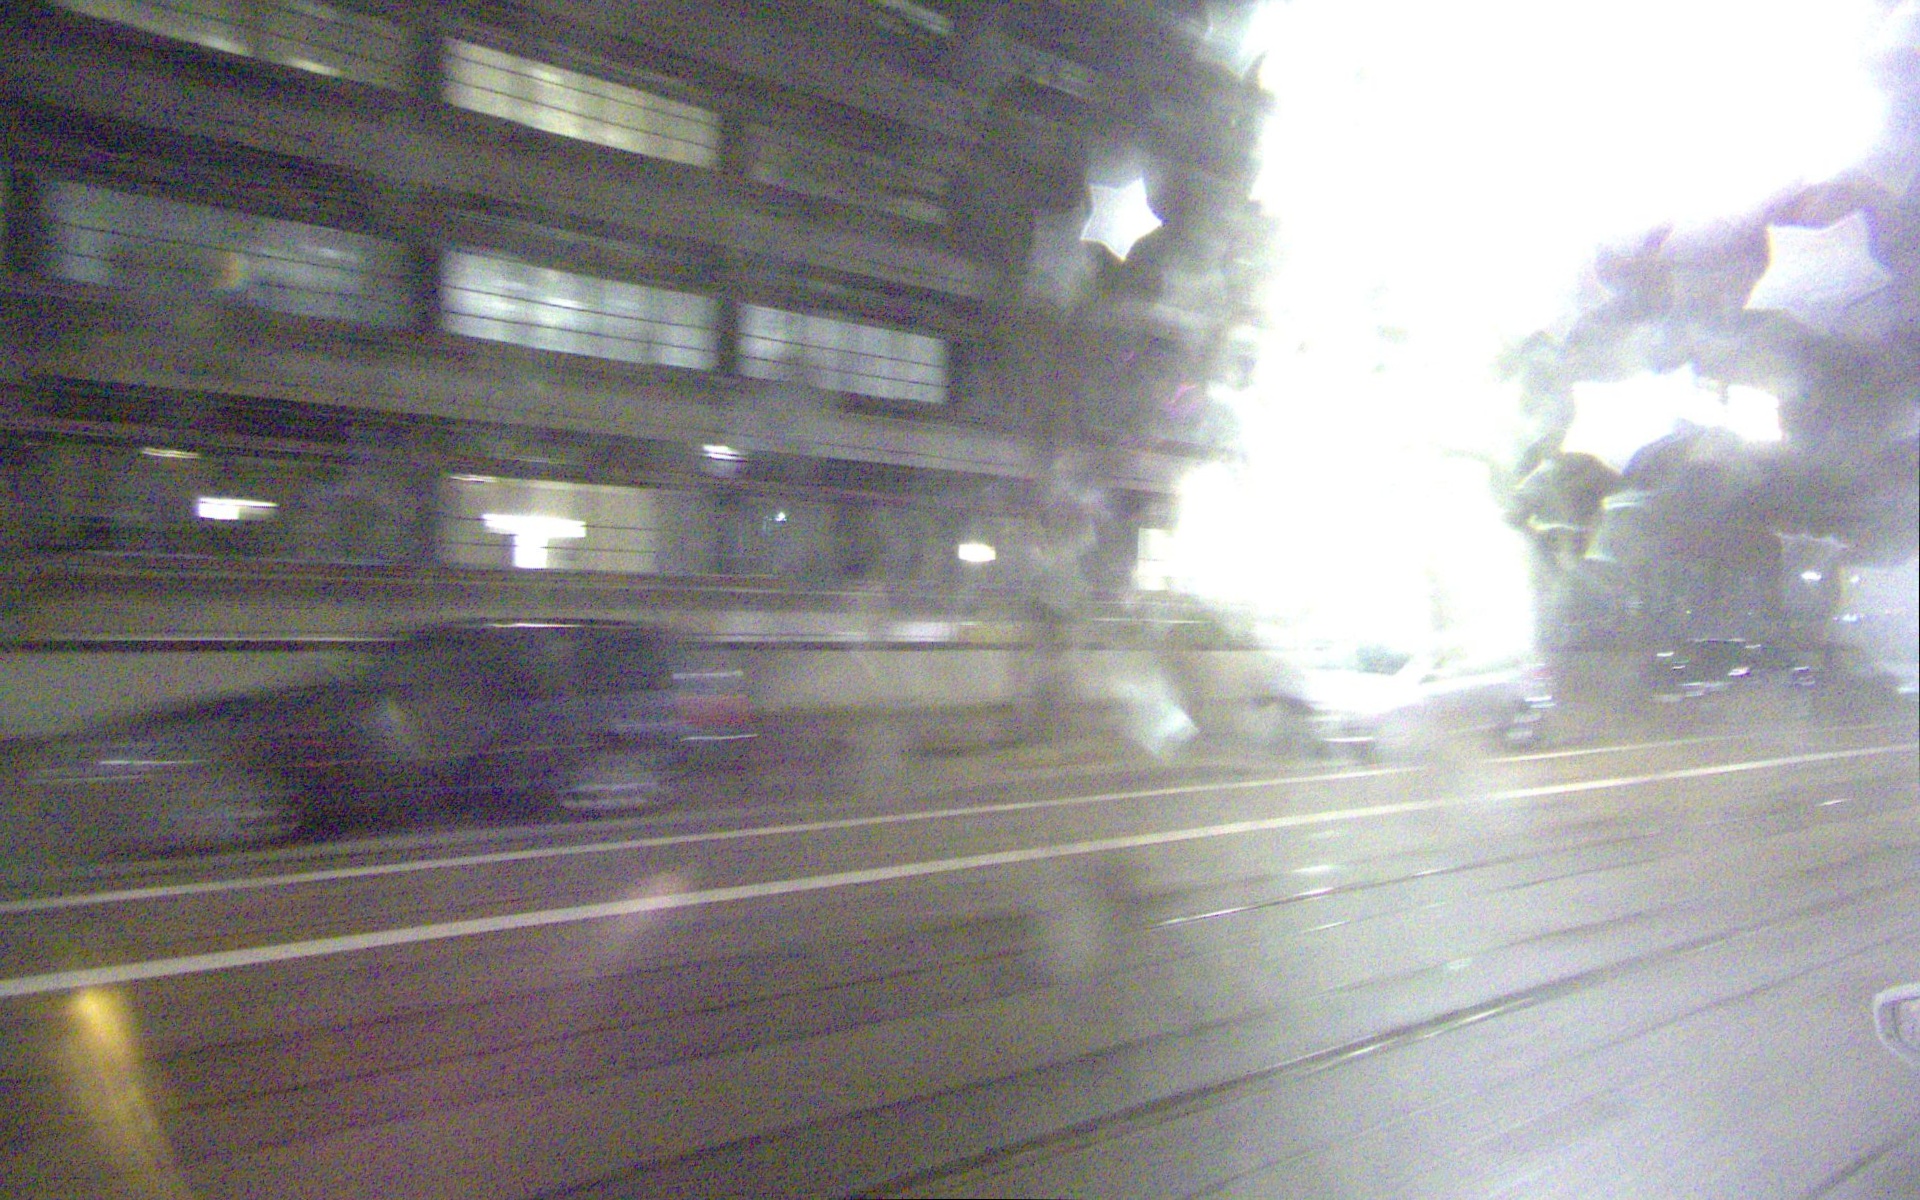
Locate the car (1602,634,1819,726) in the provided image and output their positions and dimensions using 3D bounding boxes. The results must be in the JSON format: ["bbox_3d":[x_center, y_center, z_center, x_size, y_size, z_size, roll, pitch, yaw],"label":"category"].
[{"bbox_3d":[13.471,1.358,17.966,4.165,1.442,1.829,2,-2,-33],"label":"car"}]

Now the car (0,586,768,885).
[{"bbox_3d":[-4.028,0.824,7.743,4.536,1.641,2.132,2,1,-31],"label":"car"}]

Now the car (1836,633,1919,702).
[{"bbox_3d":[22.466,1.540,23.494,4.910,1.482,1.876,2,-2,-35],"label":"car"}]

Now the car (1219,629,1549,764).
[{"bbox_3d":[5.586,1.134,13.015,4.560,1.459,1.762,2,-2,-34],"label":"car"}]
